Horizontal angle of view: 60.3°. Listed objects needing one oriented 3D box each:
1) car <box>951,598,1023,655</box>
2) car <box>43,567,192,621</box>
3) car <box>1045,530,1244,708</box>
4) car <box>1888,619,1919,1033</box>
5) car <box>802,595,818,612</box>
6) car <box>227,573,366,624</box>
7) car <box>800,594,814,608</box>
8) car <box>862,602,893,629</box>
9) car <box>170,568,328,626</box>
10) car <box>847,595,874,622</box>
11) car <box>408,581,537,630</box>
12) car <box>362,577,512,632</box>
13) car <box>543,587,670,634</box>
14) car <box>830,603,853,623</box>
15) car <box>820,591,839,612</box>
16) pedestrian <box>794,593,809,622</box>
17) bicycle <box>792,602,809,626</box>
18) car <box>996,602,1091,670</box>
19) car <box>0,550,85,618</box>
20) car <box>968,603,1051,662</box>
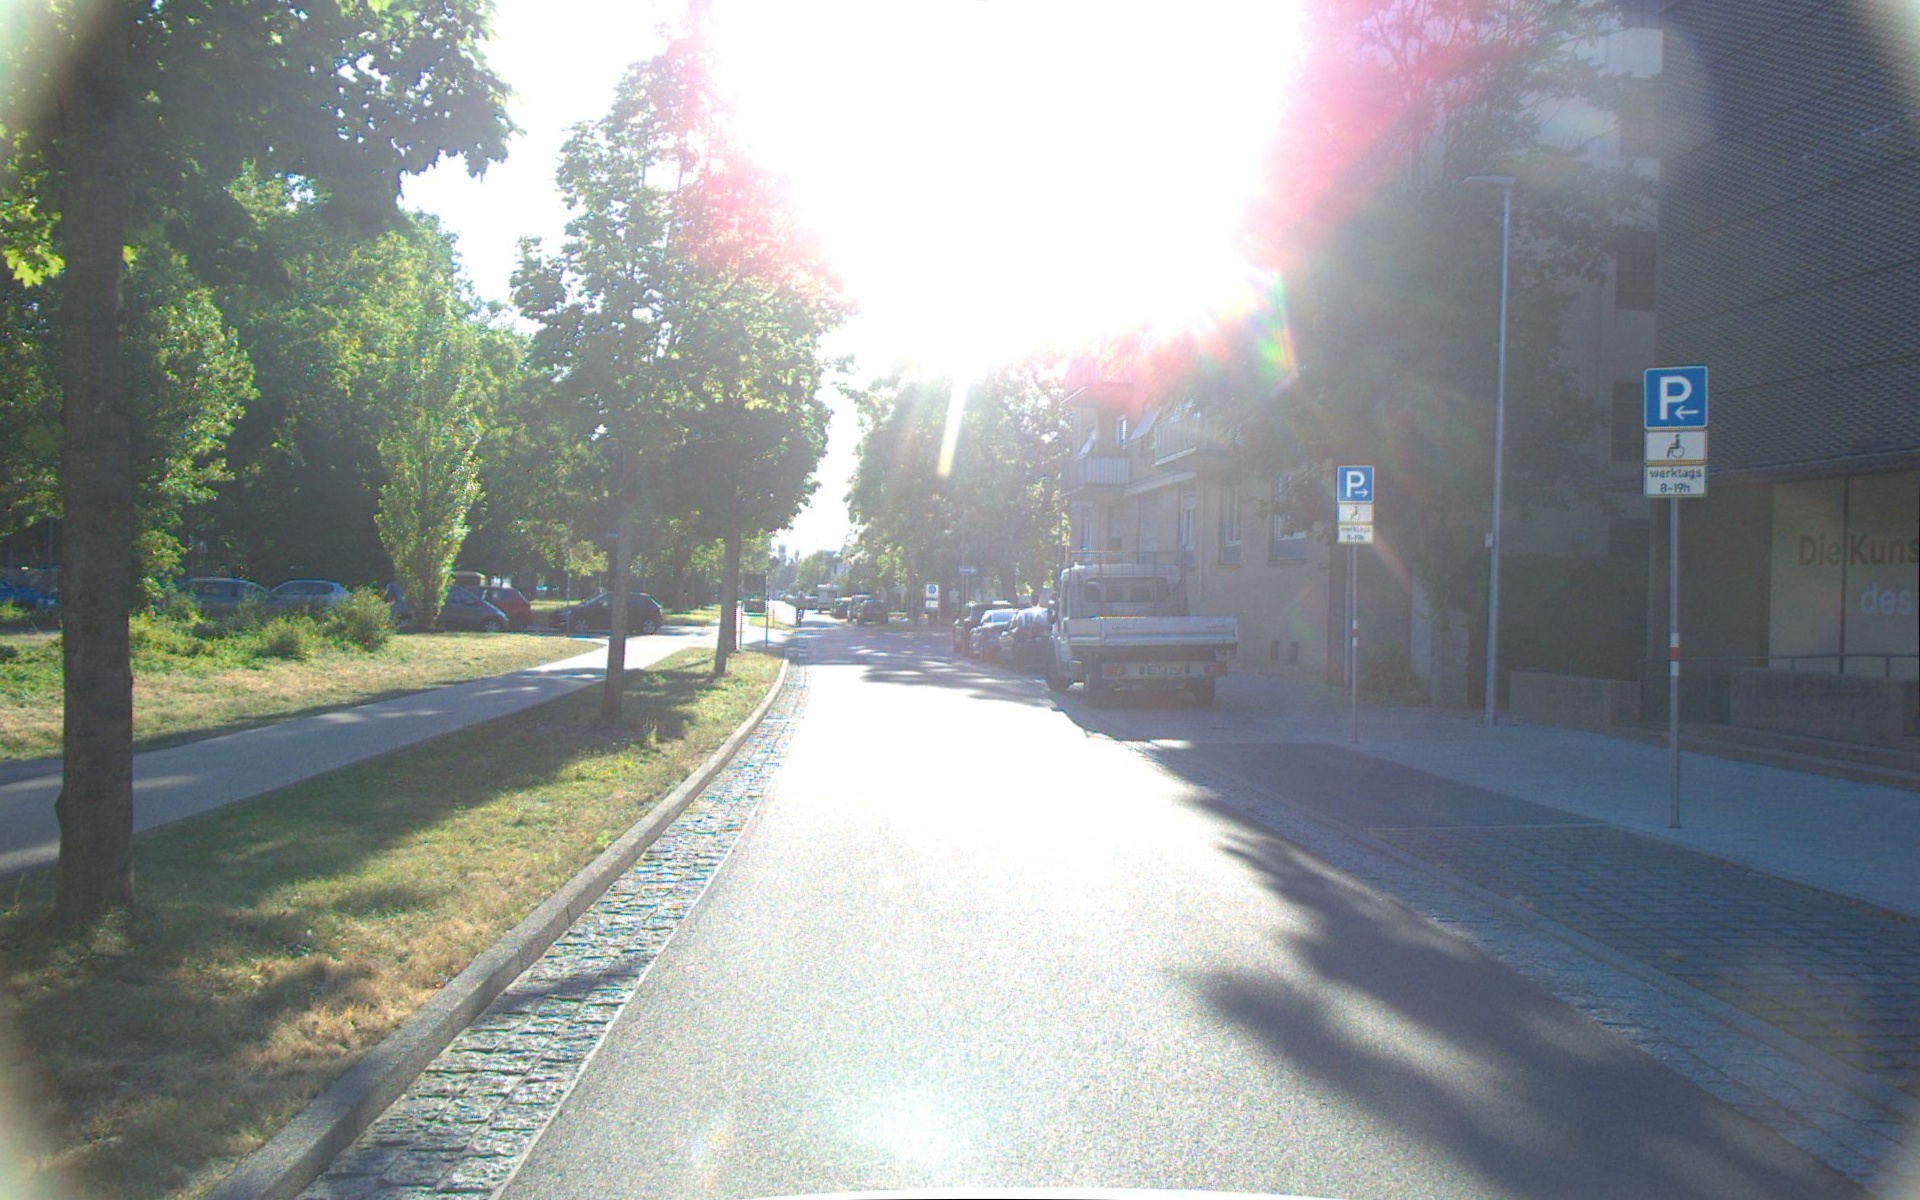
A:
[{"bbox_3d":[0.763,0.764,49.370,1.658,1.592,4.099,1,0,-6],"label":"car"},{"bbox_3d":[-25.683,-0.181,50.556,3.939,1.445,1.757,3,0,-27],"label":"car"},{"bbox_3d":[2.853,0.278,27.170,2.168,2.574,6.142,0,0,-4],"label":"car"},{"bbox_3d":[4.236,0.808,4.053,1.689,1.446,3.905,1,0,-1],"label":"car"},{"bbox_3d":[-18.984,0.491,209.250,1.955,2.004,3.996,3,0,-5],"label":"car"},{"bbox_3d":[-21.231,-0.034,52.977,3.941,1.445,1.755,3,0,-28],"label":"car"},{"bbox_3d":[-24.122,0.134,260.931,1.955,2.004,3.996,3,0,-5],"label":"car"},{"bbox_3d":[-5.042,0.962,102.018,1.757,1.536,3.999,3,0,-2],"label":"car"},{"bbox_3d":[-20.132,-0.072,46.857,3.943,1.445,1.755,3,0,-29],"label":"car"},{"bbox_3d":[-7.005,0.579,115.899,1.758,1.754,3.996,3,0,-4],"label":"car"},{"bbox_3d":[-16.409,0.181,55.679,3.868,1.445,1.755,3,0,-29],"label":"car"},{"bbox_3d":[-15.585,0.126,49.324,3.946,1.445,1.753,3,0,-31],"label":"car"},{"bbox_3d":[-12.331,0.372,57.761,3.948,1.445,1.752,3,0,-32],"label":"car"},{"bbox_3d":[-9.824,1.054,136.945,1.758,1.536,3.996,3,0,-4],"label":"car"},{"bbox_3d":[-13.268,0.124,168.120,1.758,2.034,3.996,2,0,-4],"label":"car"},{"bbox_3d":[-8.274,0.400,86.491,0.674,1.459,1.024,2,0,-2],"label":"pedestrian"},{"bbox_3d":[-8.349,0.739,86.456,0.674,1.223,2.342,2,0,-2],"label":"bicycle"},{"bbox_3d":[1.895,0.805,38.347,1.658,1.466,3.546,1,0,-6],"label":"car"},{"bbox_3d":[-25.794,-0.474,43.826,4.473,1.715,1.757,3,0,-26],"label":"car"},{"bbox_3d":[1.262,0.824,43.843,1.658,1.466,4.099,1,0,-6],"label":"car"}]
